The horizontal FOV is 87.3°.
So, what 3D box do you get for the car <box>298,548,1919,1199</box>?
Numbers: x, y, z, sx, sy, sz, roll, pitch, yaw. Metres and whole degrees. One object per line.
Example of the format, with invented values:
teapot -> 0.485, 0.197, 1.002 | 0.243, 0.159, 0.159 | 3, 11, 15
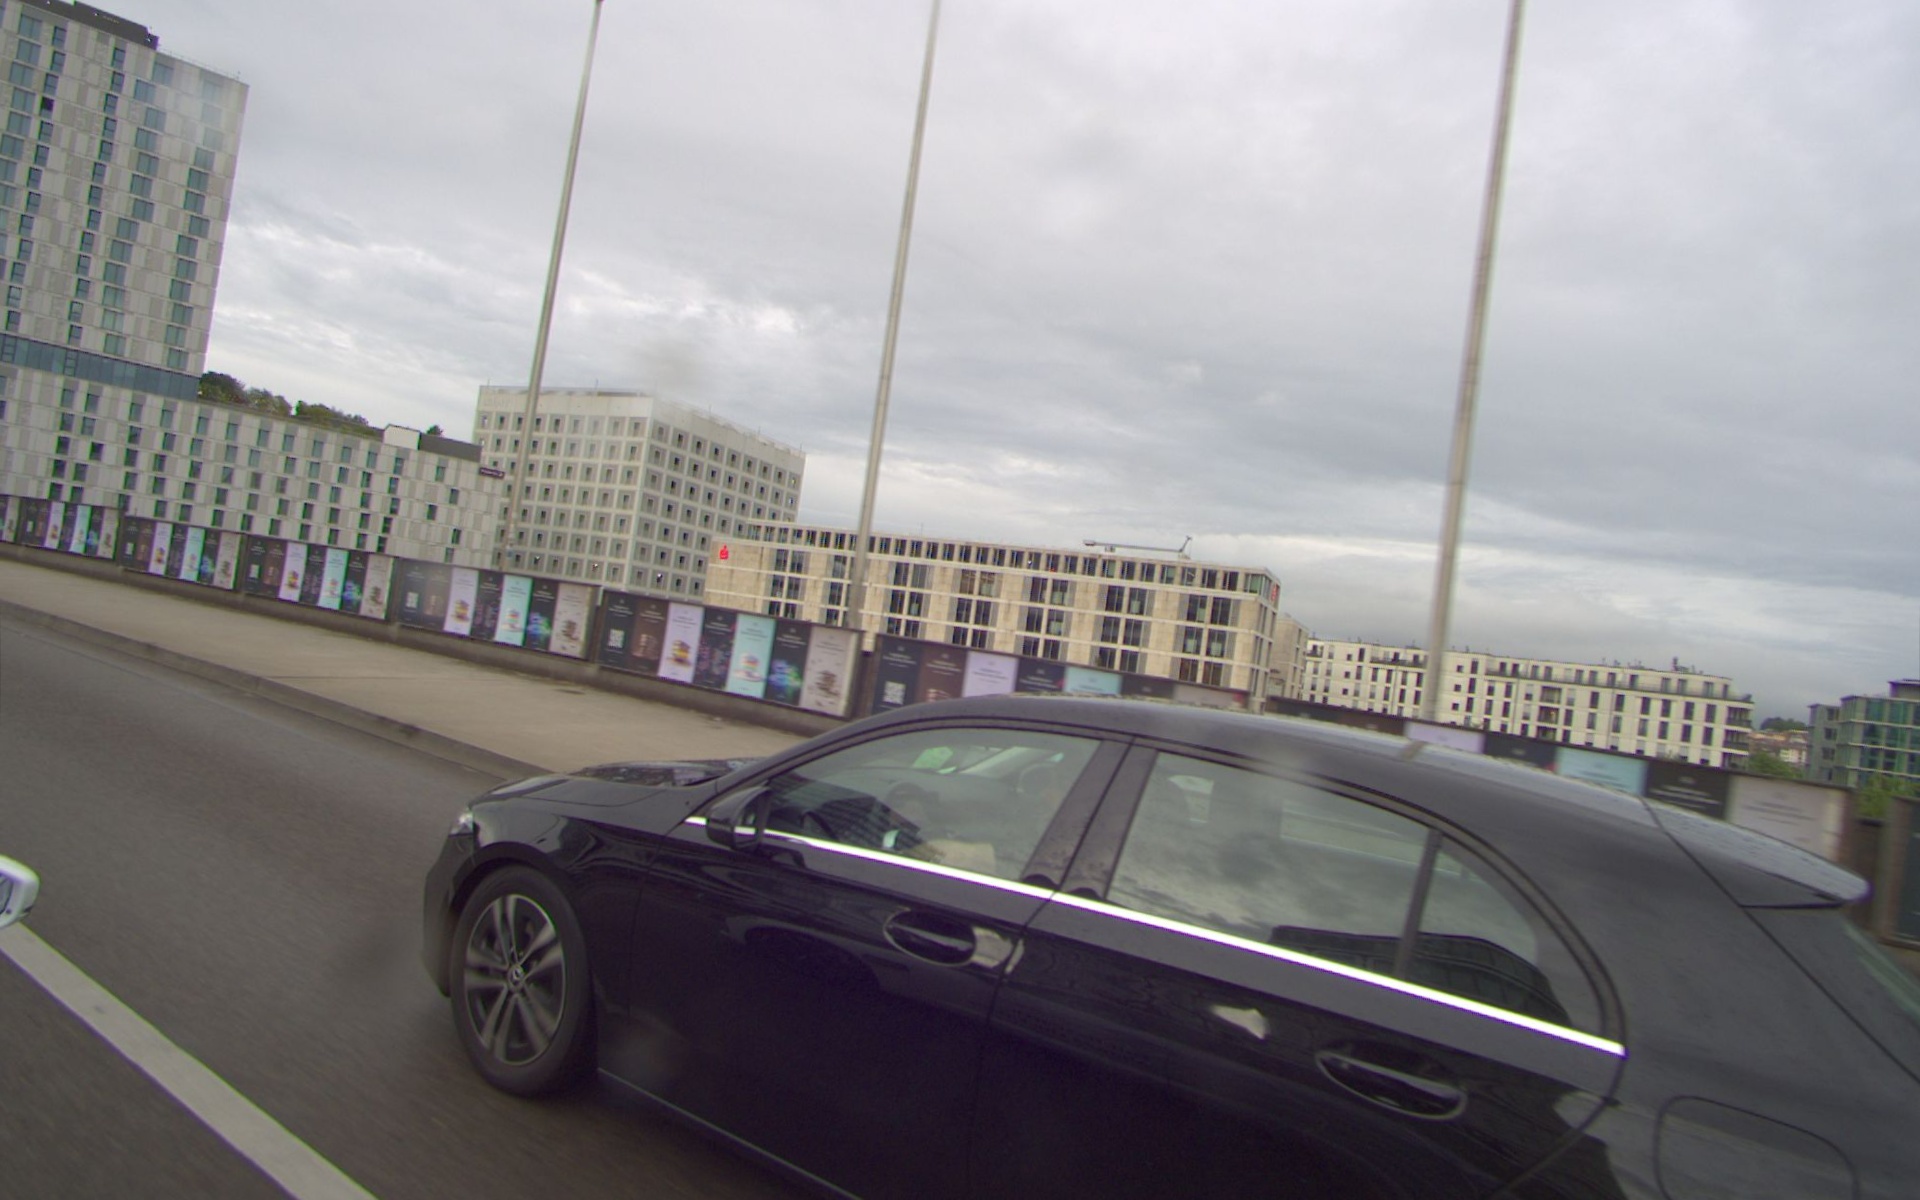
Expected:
car -> 0.001, 0.786, 3.077 | 4.086, 1.392, 1.726 | 6, -2, 32
